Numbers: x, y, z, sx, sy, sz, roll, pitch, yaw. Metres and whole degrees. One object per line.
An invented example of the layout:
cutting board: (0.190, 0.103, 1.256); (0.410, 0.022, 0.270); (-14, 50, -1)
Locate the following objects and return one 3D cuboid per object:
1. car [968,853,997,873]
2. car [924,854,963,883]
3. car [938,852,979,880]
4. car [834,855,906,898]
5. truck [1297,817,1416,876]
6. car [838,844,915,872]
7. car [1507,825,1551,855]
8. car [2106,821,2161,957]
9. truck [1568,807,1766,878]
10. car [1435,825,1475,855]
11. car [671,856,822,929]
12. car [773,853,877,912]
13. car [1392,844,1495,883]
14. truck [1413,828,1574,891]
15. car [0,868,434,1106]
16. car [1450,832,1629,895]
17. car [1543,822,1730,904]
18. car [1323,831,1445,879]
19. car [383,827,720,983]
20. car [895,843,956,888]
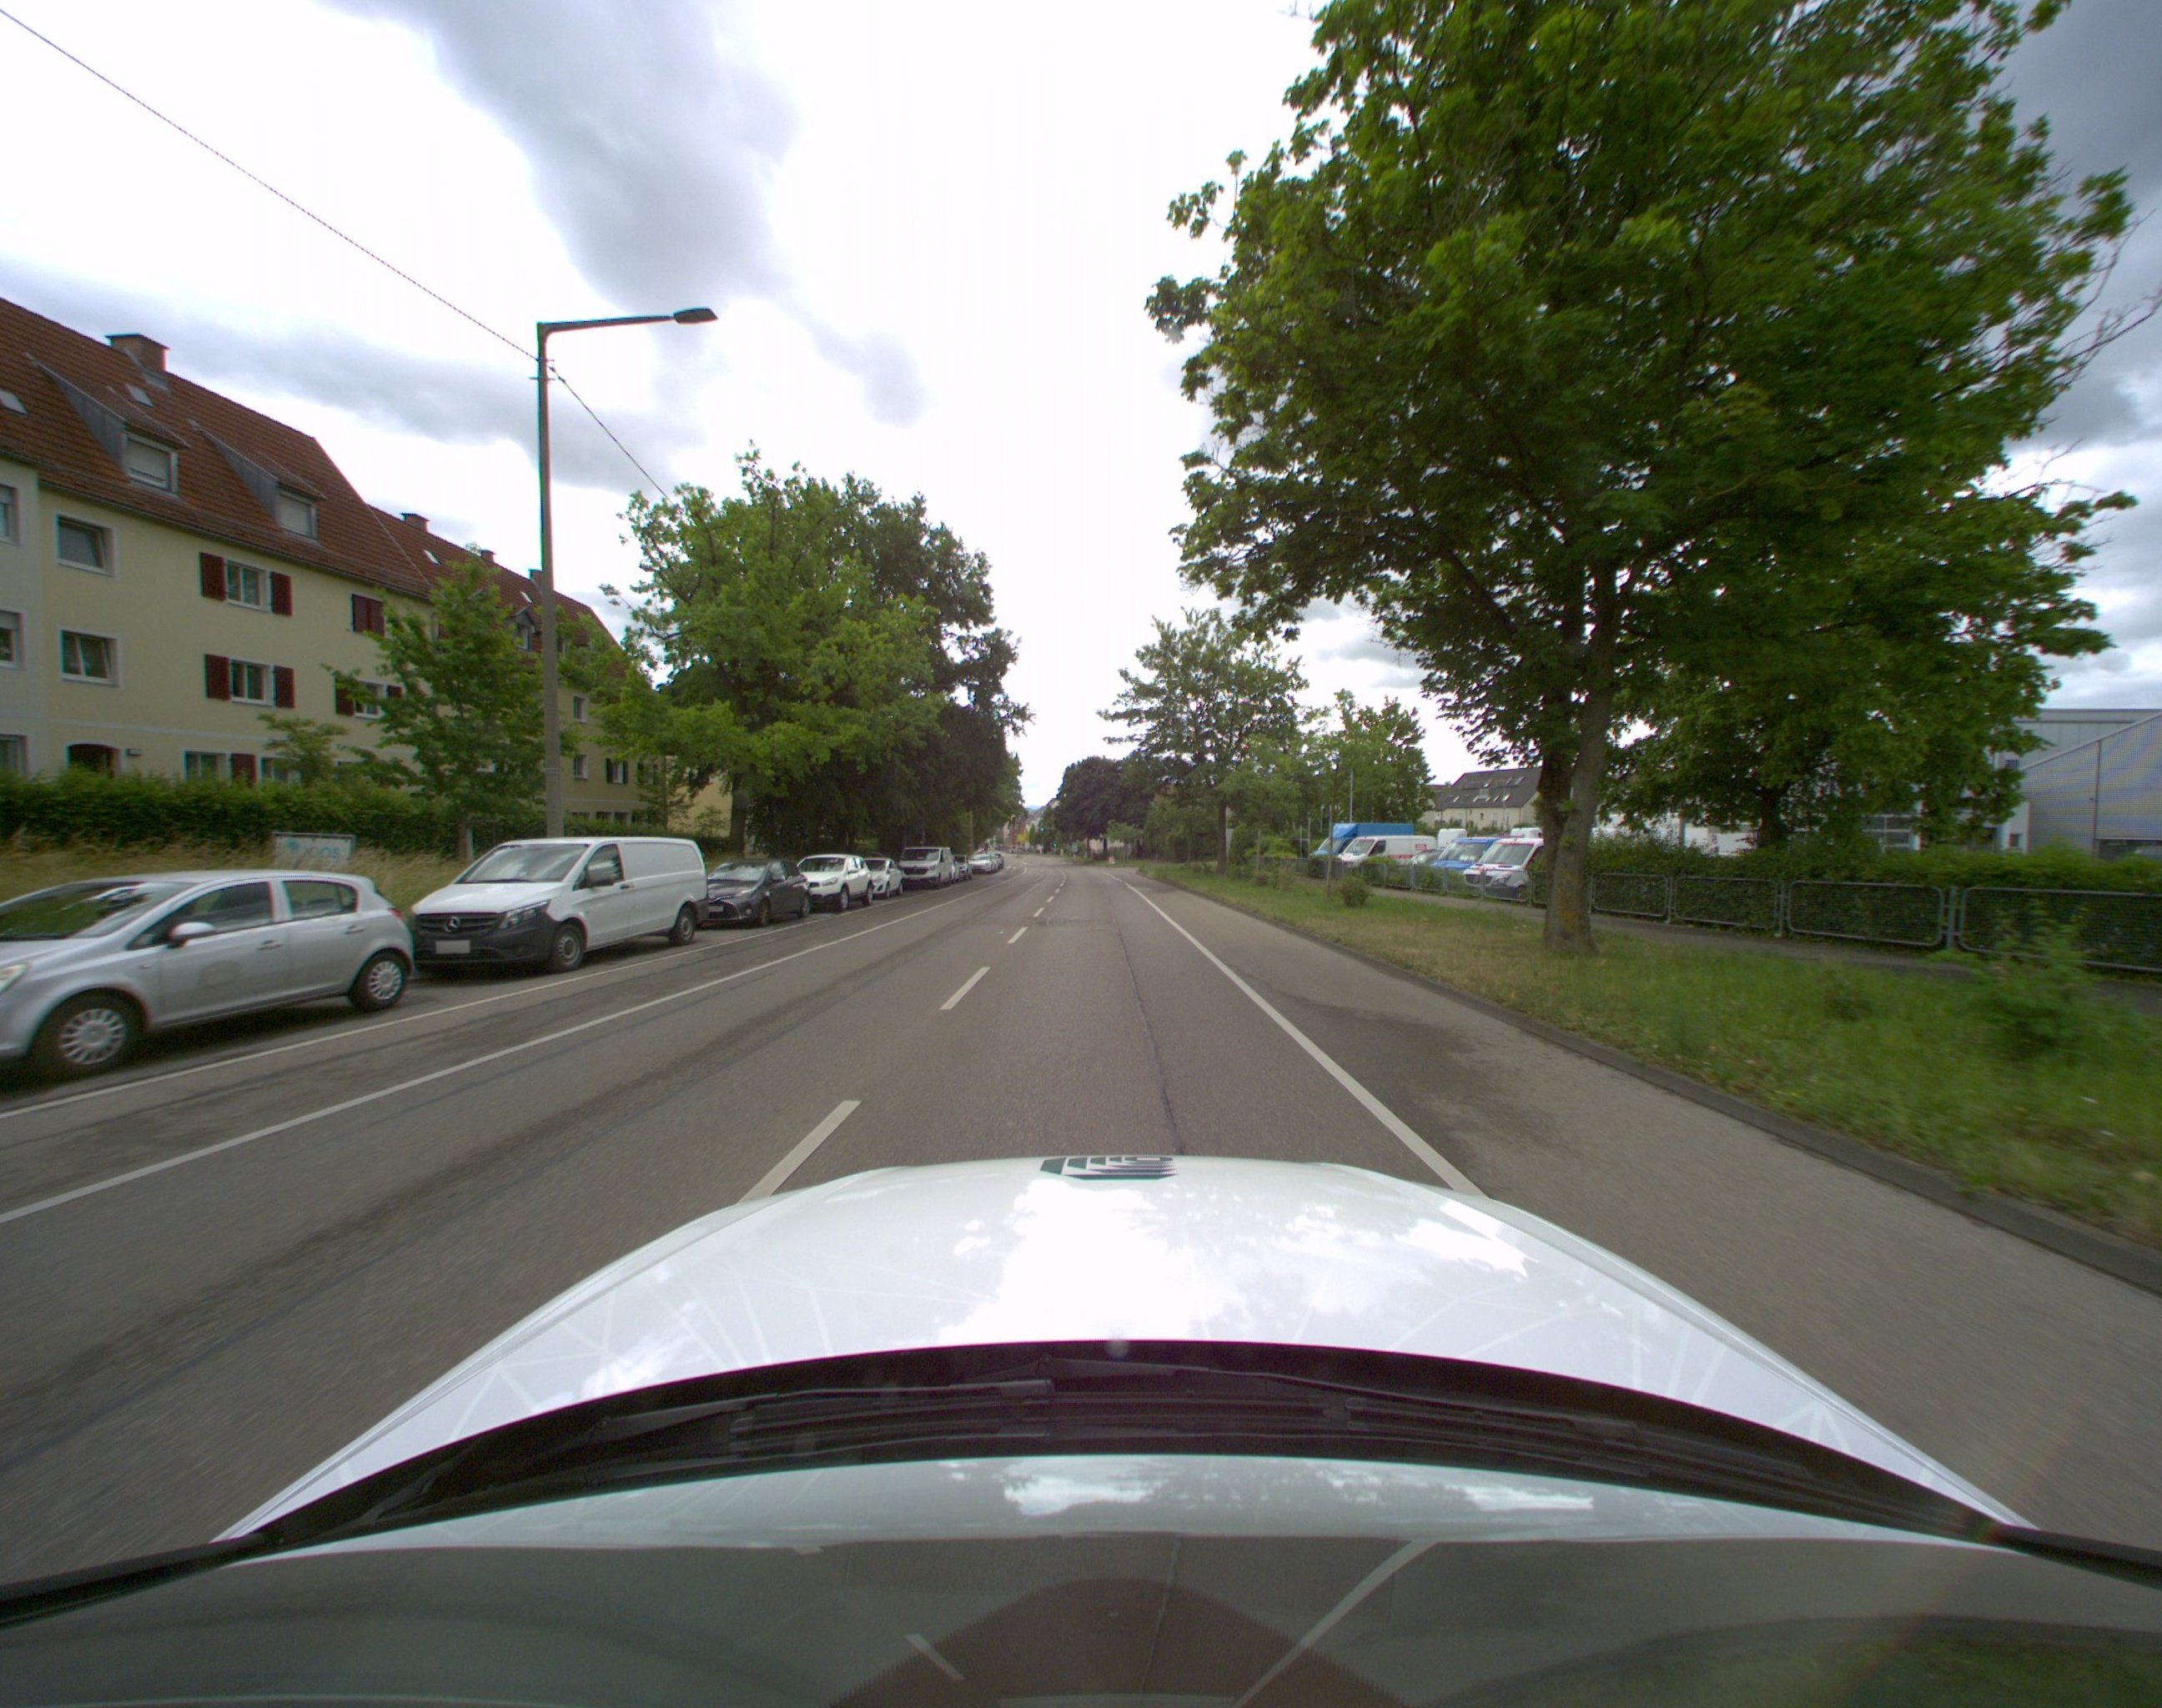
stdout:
car: (-7.870, 0.696, 65.448); (1.762, 1.573, 4.758); (-1, 0, -1)
car: (-7.433, 0.735, 44.176); (1.577, 1.482, 3.717); (0, 0, -2)
car: (-7.341, 0.683, 49.084); (1.760, 1.633, 4.158); (0, 0, 0)
car: (-7.667, 0.779, 29.974); (1.657, 1.479, 4.088); (0, 0, -1)
truck: (17.104, -0.484, 50.499); (7.195, 3.477, 2.599); (-1, 0, -24)
car: (-13.082, 0.253, 52.274); (4.424, 1.450, 1.866); (4, 0, -5)
car: (43.135, -1.371, 78.344); (2.235, 2.676, 5.482); (1, 3, 45)
car: (18.284, 0.547, 13.186); (4.599, 2.034, 2.048); (1, 0, -39)
truck: (31.688, -0.588, 44.782); (2.854, 3.459, 9.507); (1, 0, -10)
car: (36.666, -1.401, 79.744); (2.234, 2.676, 5.485); (1, 3, 40)
car: (-7.664, 0.818, 19.111); (1.666, 1.488, 4.047); (-1, 0, 2)
car: (-7.374, 0.767, 23.900); (1.668, 1.564, 4.281); (-1, 0, 0)
car: (15.673, 0.411, 35.227); (4.008, 1.629, 1.983); (1, 0, -27)
truck: (15.827, 0.212, 31.148); (6.267, 2.212, 2.227); (1, 0, -27)
car: (-7.955, 0.905, 7.054); (1.631, 1.433, 3.947); (1, 1, -2)
car: (15.487, 0.326, 27.497); (5.829, 1.956, 2.057); (1, 0, -21)
car: (16.110, 0.258, 23.588); (5.268, 2.188, 2.055); (1, 0, -24)
car: (15.848, 0.086, 42.576); (6.036, 2.367, 2.344); (1, 0, -23)
car: (-7.783, 0.608, 12.789); (1.761, 1.931, 5.158); (1, 1, 2)
car: (-7.268, 0.505, 38.560); (1.860, 1.963, 5.126); (0, 0, 0)
